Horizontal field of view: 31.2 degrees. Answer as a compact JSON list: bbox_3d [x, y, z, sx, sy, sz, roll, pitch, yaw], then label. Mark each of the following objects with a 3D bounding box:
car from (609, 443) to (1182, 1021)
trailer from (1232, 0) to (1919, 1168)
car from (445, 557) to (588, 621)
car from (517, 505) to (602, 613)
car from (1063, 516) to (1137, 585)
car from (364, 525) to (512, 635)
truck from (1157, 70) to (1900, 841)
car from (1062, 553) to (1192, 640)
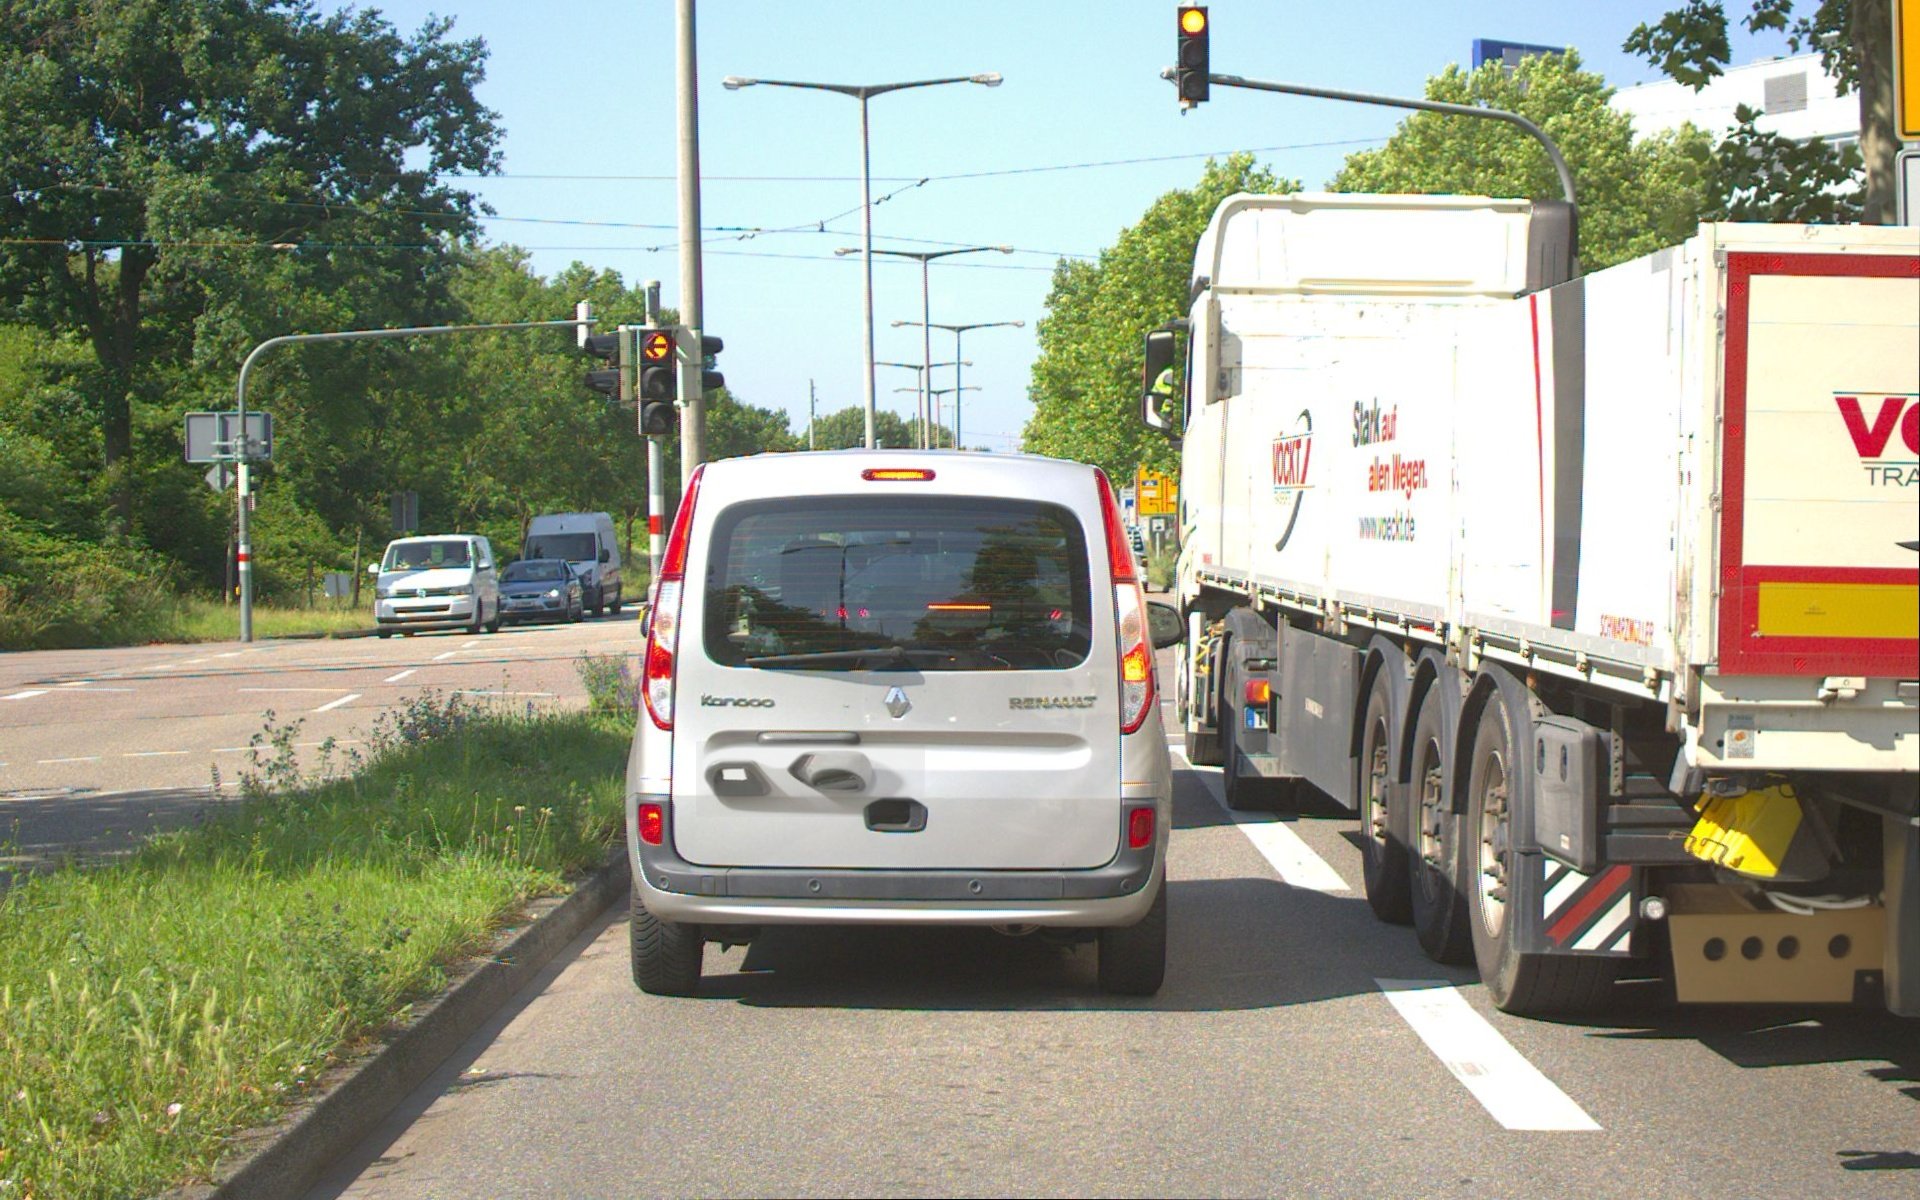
[{"bbox_3d":[-0.212,0.379,12.513,1.749,1.766,3.949,0,1,0],"label":"car"},{"bbox_3d":[3.050,-0.715,13.531,3.016,3.728,12.240,0,1,0],"label":"trailer"},{"bbox_3d":[-10.138,-0.277,78.369,1.911,1.404,4.228,0,1,-27],"label":"car"},{"bbox_3d":[-10.067,-1.035,86.641,2.058,2.605,5.871,0,1,-6],"label":"car"},{"bbox_3d":[4.157,-1.475,102.935,1.993,2.007,4.000,0,1,-1],"label":"car"},{"bbox_3d":[-9.716,-0.392,64.306,1.993,1.884,4.988,-3,1,-1],"label":"car"},{"bbox_3d":[2.987,-0.751,20.498,3.071,3.745,7.477,0,1,-1],"label":"truck"},{"bbox_3d":[3.229,-0.092,67.305,1.993,1.634,4.001,0,1,-5],"label":"car"}]
